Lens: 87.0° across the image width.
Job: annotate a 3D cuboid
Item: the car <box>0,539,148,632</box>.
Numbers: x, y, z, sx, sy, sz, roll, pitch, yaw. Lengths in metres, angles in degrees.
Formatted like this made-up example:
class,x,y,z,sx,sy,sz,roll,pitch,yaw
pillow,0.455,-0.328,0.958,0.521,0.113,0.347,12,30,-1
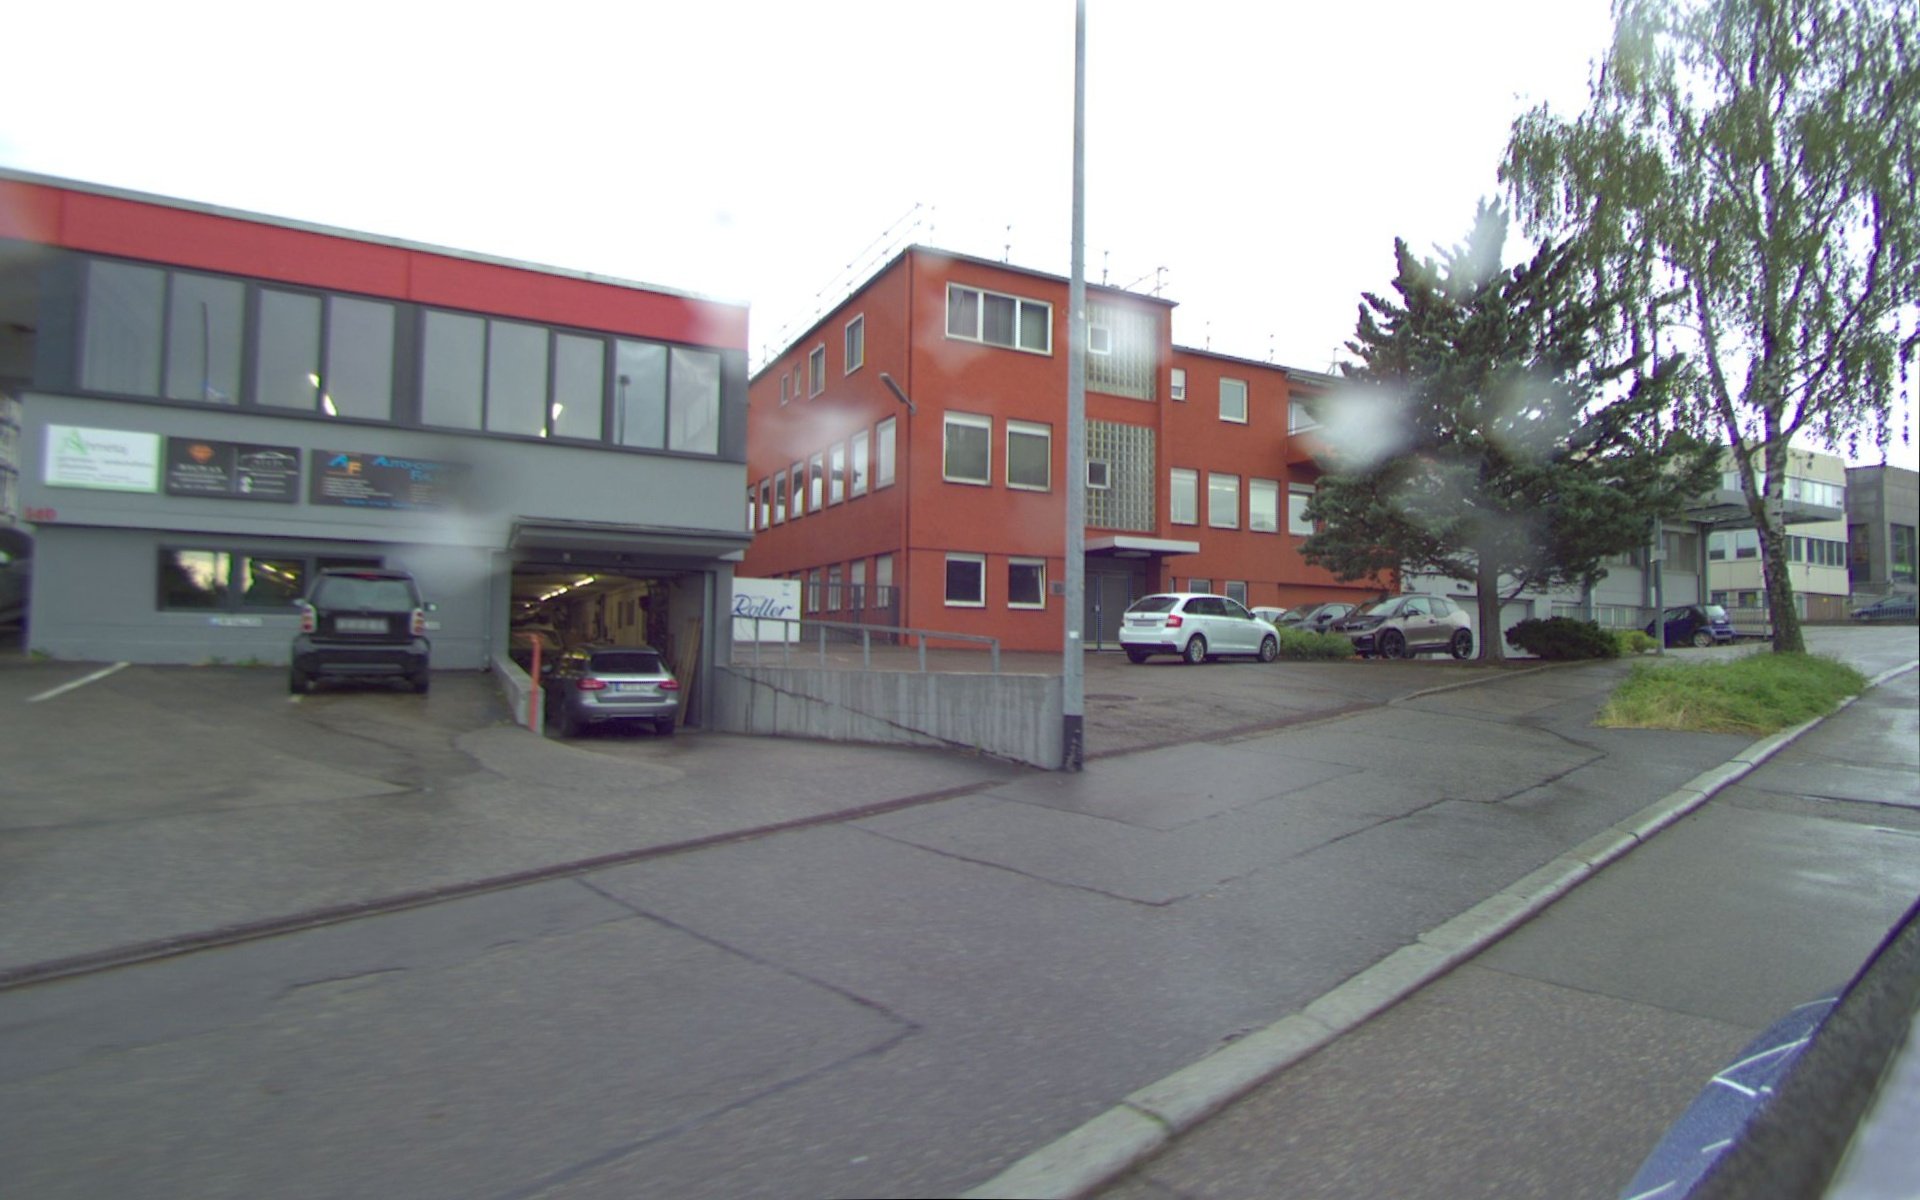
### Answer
class,x,y,z,sx,sy,sz,roll,pitch,yaw
car,-17.749,-0.309,20.238,1.636,1.677,3.716,2,1,-28

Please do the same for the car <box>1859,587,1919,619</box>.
class,x,y,z,sx,sy,sz,roll,pitch,yaw
car,47.040,0.134,49.875,1.598,1.559,3.755,0,1,-30

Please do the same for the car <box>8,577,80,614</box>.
class,x,y,z,sx,sy,sz,roll,pitch,yaw
car,-38.292,-0.174,42.384,1.609,1.491,3.064,-1,0,-30

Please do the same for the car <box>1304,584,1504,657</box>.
class,x,y,z,sx,sy,sz,roll,pitch,yaw
car,10.770,0.489,24.565,4.419,1.600,2.004,-1,-2,-26

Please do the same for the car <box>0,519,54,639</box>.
class,x,y,z,sx,sy,sz,roll,pitch,yaw
car,-15.027,-0.330,14.709,1.820,1.760,3.943,1,1,-28

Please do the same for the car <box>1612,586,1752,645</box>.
class,x,y,z,sx,sy,sz,roll,pitch,yaw
car,25.051,0.558,35.241,1.585,1.520,3.447,-1,-9,-24

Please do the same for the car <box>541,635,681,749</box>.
class,x,y,z,sx,sy,sz,roll,pitch,yaw
car,-5.832,1.422,16.732,1.597,1.514,3.047,0,1,-31

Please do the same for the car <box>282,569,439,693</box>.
class,x,y,z,sx,sy,sz,roll,pitch,yaw
car,-7.950,0.357,13.546,1.644,1.465,2.724,-1,0,-29

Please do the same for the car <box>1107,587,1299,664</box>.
class,x,y,z,sx,sy,sz,roll,pitch,yaw
car,5.304,0.484,21.818,4.253,1.489,1.907,0,0,-41
